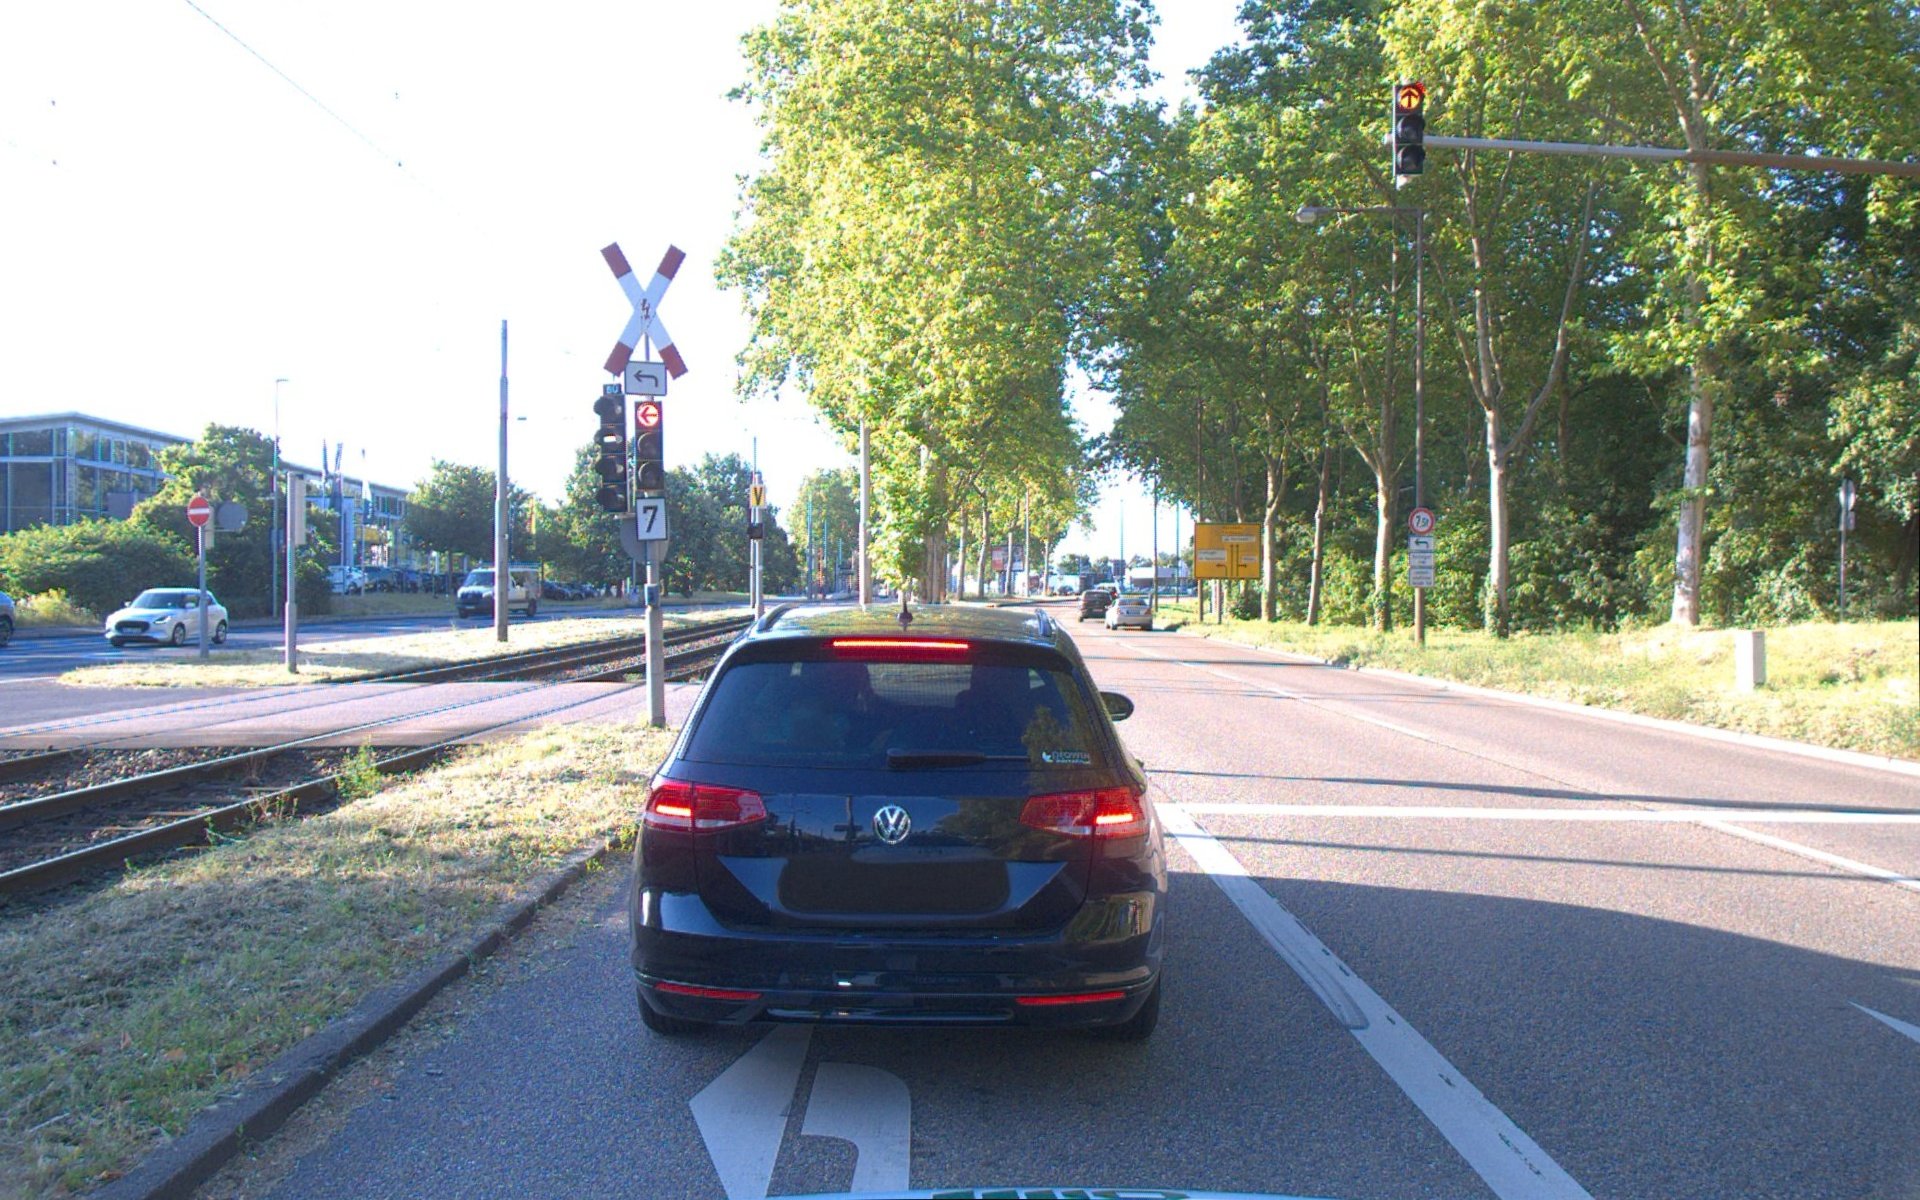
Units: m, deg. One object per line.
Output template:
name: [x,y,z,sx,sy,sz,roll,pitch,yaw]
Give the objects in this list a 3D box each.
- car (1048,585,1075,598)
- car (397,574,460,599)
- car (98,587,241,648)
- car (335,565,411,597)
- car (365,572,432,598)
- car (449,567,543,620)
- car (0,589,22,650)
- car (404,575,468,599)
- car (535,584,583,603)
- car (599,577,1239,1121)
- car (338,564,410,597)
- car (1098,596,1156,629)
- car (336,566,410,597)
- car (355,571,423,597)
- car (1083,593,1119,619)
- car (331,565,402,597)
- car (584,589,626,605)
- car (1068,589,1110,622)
car: [11.265,-0.910,183.433,1.952,1.445,4.001,1,0,20]
car: [-35.711,-0.883,111.113,3.930,1.583,1.732,1,0,-22]
car: [-21.072,0.433,44.262,1.824,1.507,4.092,1,1,0]
car: [-32.914,-1.043,92.723,3.930,1.734,1.732,1,0,-22]
car: [-35.546,-0.950,104.719,3.930,1.583,1.732,1,0,-22]
car: [-22.942,-0.326,82.033,2.050,2.504,5.858,1,1,11]
car: [-25.079,0.490,40.482,1.823,1.507,4.172,1,1,1]
car: [-36.042,-0.862,113.808,3.913,1.583,1.740,1,0,-9]
car: [-35.223,-0.557,145.381,3.909,1.649,1.742,1,0,-6]
car: [-0.145,0.693,6.398,1.758,1.490,3.582,1,0,-1]
car: [-34.445,-1.116,97.287,3.930,1.848,1.732,1,0,-22]
car: [6.857,0.502,68.322,1.578,1.317,3.977,1,0,-6]
car: [-33.697,-1.052,94.962,3.930,1.734,1.732,1,0,-22]
car: [-35.205,-0.976,101.940,3.930,1.583,1.732,1,0,-22]
car: [9.904,0.430,115.751,1.832,1.663,4.373,4,0,12]
car: [-35.552,-1.148,99.025,3.930,1.848,1.732,1,0,-22]
car: [-35.966,-0.333,167.443,3.909,1.583,1.742,1,0,-5]
car: [6.338,0.269,81.681,1.673,1.588,4.165,0,0,-2]
